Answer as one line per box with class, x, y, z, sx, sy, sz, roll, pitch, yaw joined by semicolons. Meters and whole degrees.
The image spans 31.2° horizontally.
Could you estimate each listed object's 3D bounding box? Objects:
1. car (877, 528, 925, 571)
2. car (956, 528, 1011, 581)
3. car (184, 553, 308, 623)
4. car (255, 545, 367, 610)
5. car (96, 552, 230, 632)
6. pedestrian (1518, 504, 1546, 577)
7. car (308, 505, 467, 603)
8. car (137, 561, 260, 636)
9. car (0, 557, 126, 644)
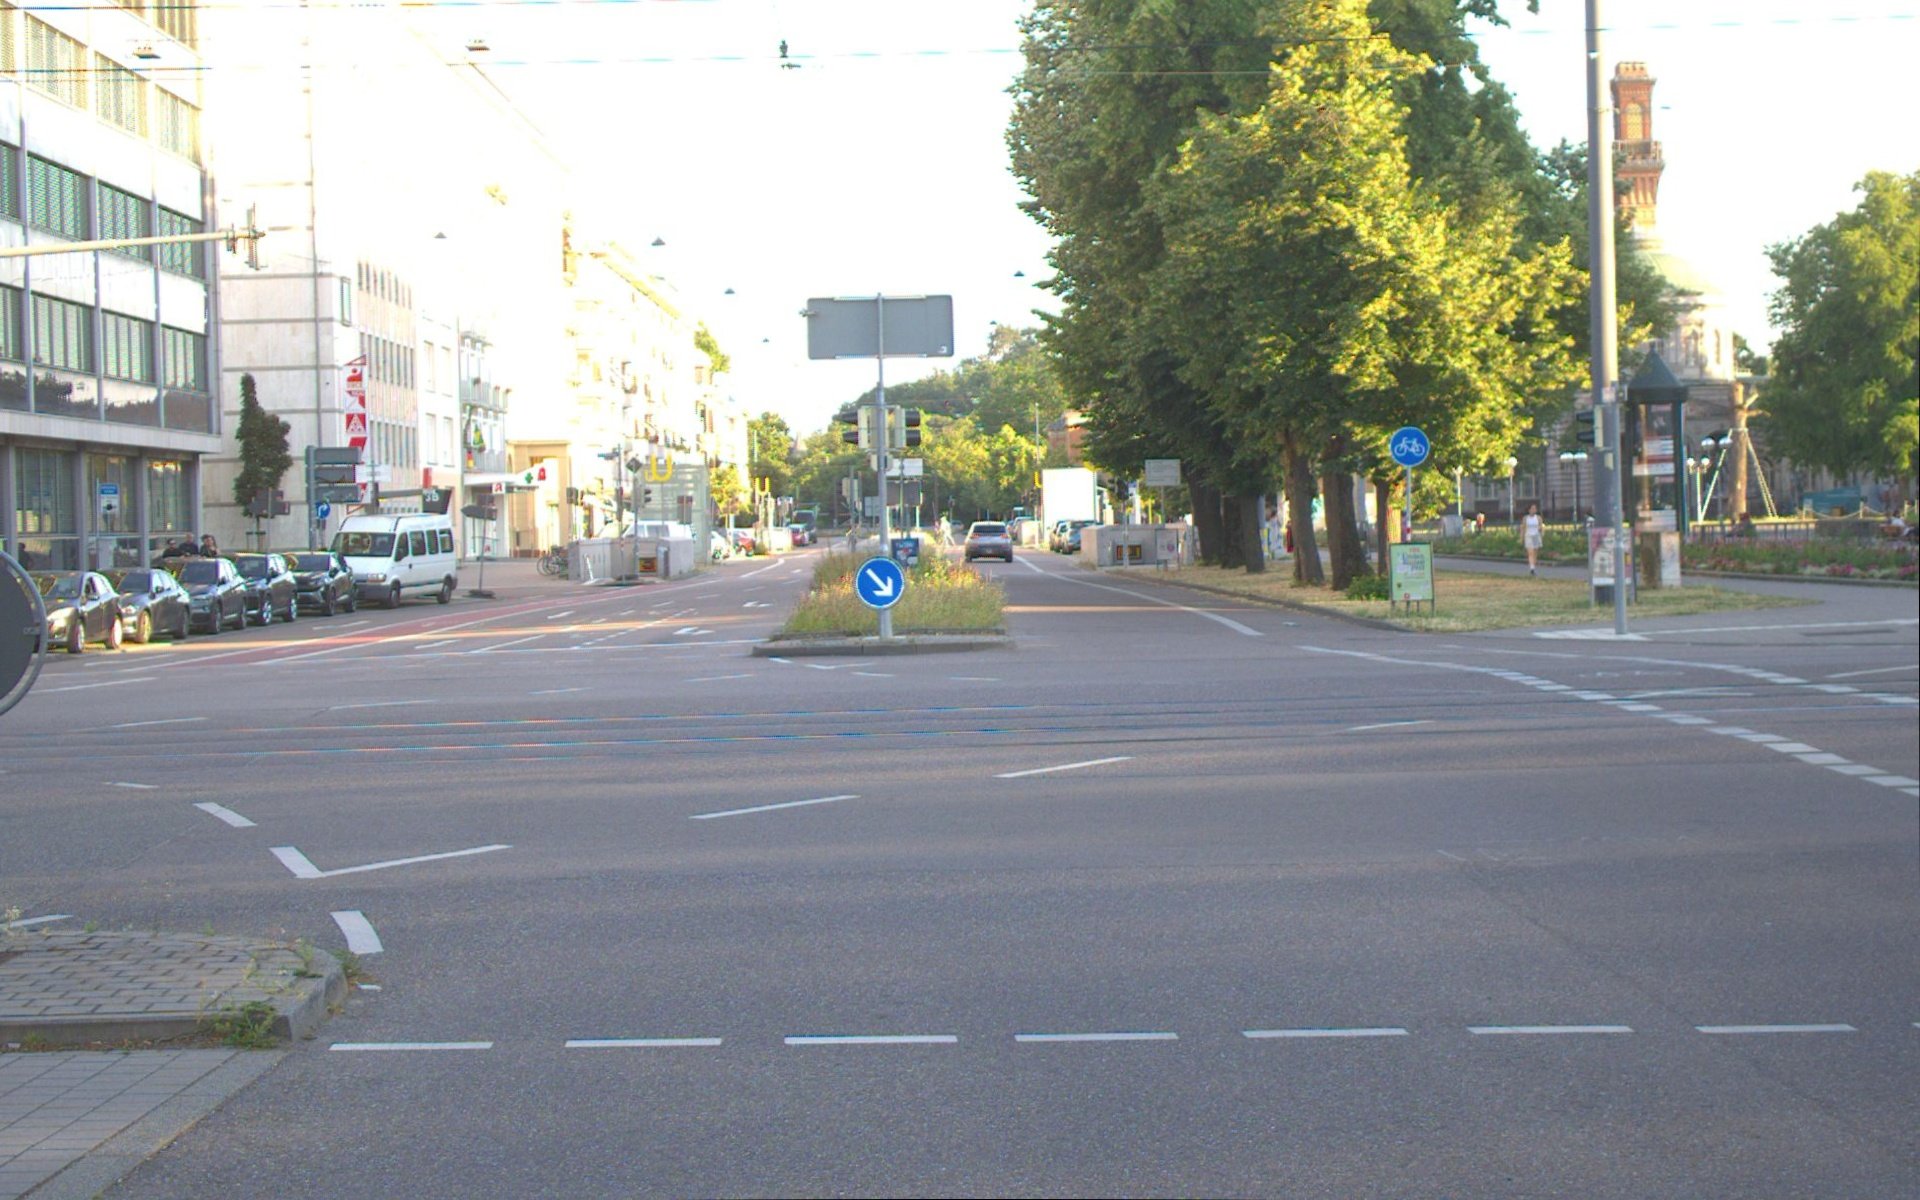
car;-2.570;-2.210;149.507;1.993;1.809;4.000;-1;1;-1
car;0.923;-1.808;135.893;1.993;2.007;4.000;-1;1;-1
car;-16.383;-0.257;79.062;1.796;1.470;3.999;-2;-1;3
car;-16.103;-0.533;85.460;1.796;1.470;3.999;-2;-1;3
car;-15.897;-0.134;68.742;1.796;1.470;4.000;-1;-1;-1
pedestrian;13.191;-1.383;79.276;0.508;1.663;0.531;-1;1;-1
car;-15.267;-1.190;92.045;2.177;2.377;5.986;-2;-1;11
car;-16.325;-0.013;73.888;1.796;1.470;4.000;-1;-1;-1
car;-16.531;0.035;62.478;1.796;1.470;4.000;-1;-1;-1
